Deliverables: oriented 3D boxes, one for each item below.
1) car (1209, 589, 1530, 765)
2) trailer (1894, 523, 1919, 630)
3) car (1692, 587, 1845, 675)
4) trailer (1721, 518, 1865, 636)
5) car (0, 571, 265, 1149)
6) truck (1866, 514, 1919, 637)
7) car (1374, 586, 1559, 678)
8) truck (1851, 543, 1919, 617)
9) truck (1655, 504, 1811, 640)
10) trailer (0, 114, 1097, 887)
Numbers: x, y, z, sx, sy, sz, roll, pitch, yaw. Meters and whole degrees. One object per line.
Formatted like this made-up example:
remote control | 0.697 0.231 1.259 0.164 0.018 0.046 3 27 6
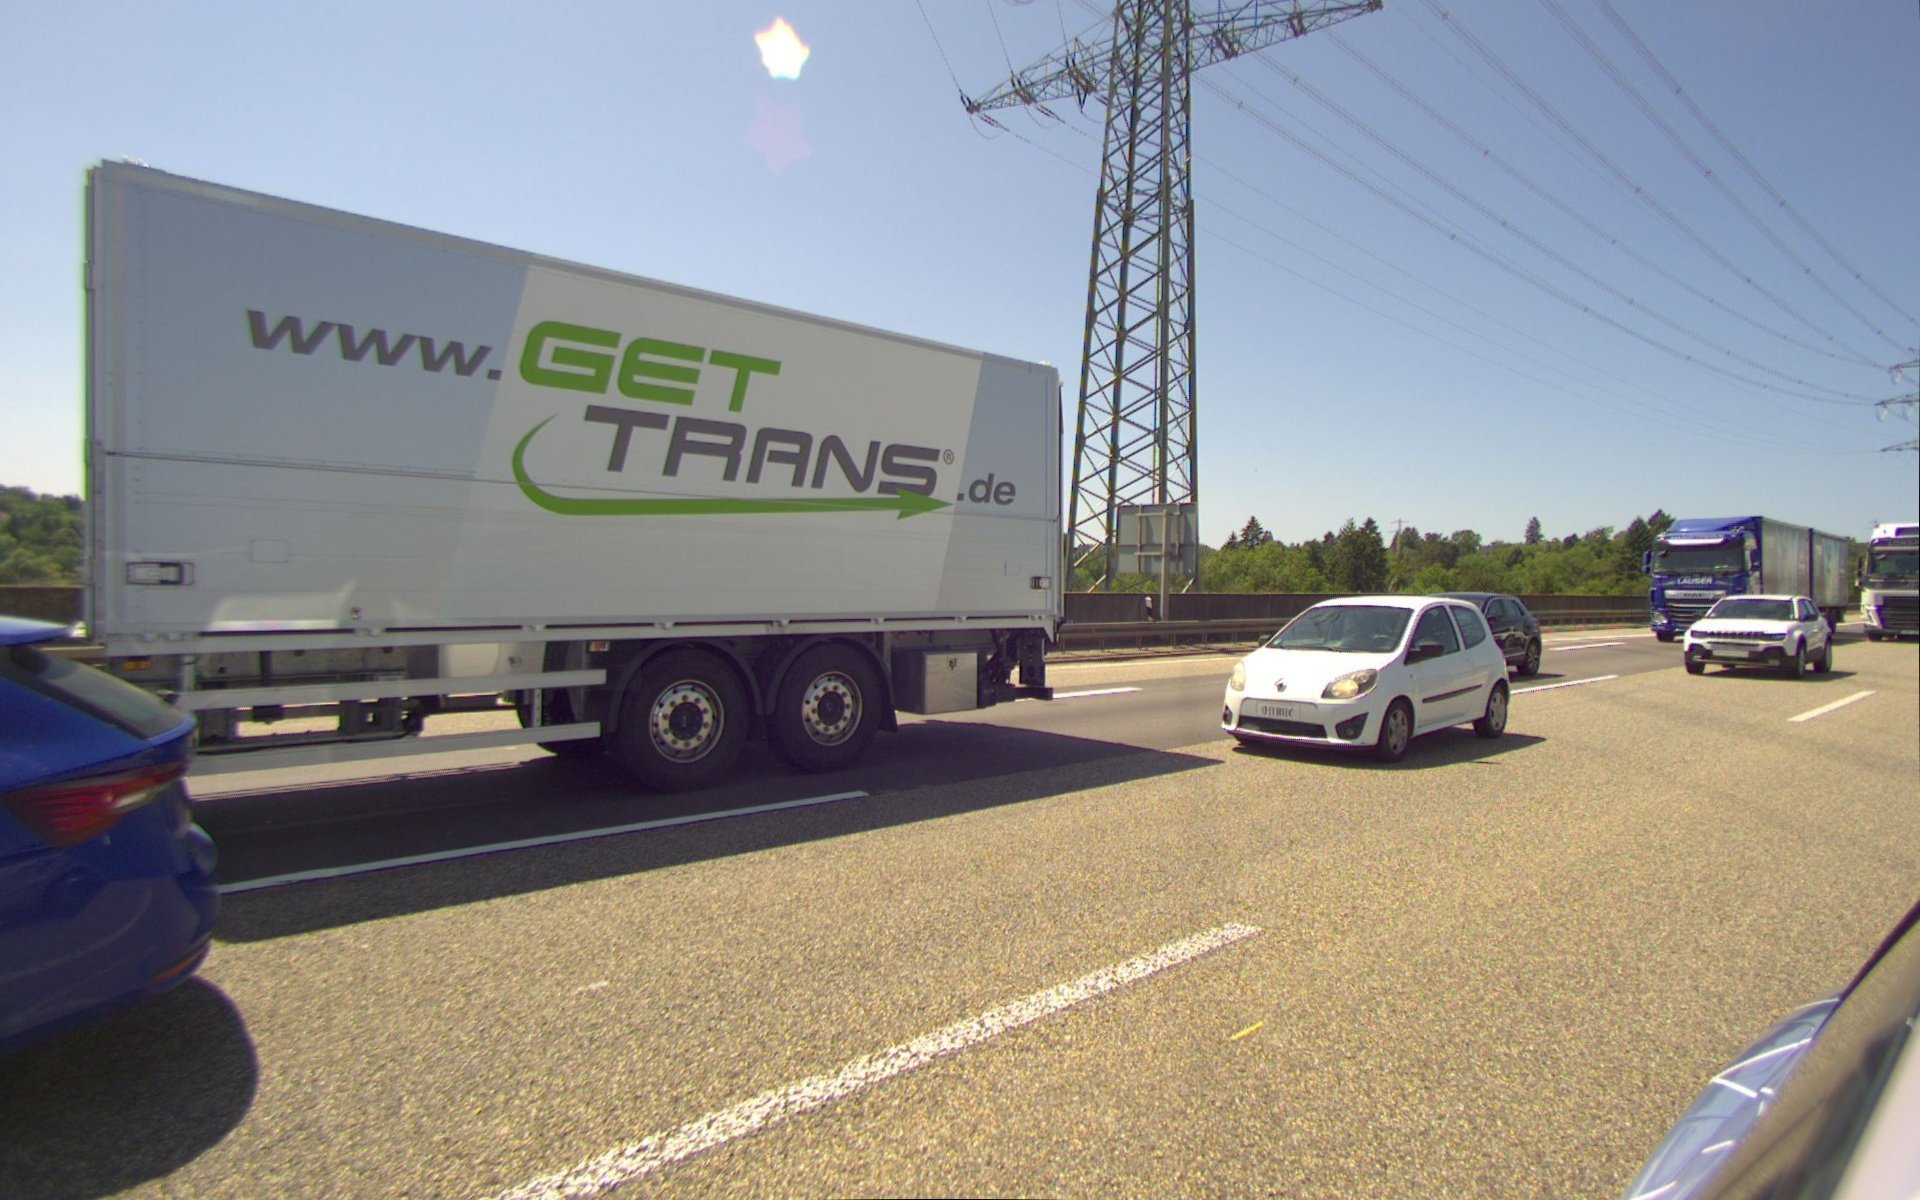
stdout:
car | 4.219 0.623 10.204 3.566 1.458 1.582 0 1 -41
trailer | 39.476 -0.940 39.871 9.605 3.918 2.895 -1 0 -41
car | 15.779 0.532 19.694 3.688 1.554 1.720 0 1 -41
trailer | 32.522 -0.882 39.296 10.695 4.044 2.541 -1 0 -41
car | -4.209 0.658 2.074 4.423 1.458 1.712 0 1 -42
truck | 33.375 -0.838 34.510 6.624 3.941 2.911 -1 0 -41
car | 9.356 0.511 18.580 3.820 1.524 1.708 0 1 -41
truck | 52.964 -1.112 57.319 6.624 3.941 2.911 -1 0 -41
truck | 25.530 -0.844 33.249 7.787 4.018 2.515 0 0 -41
trailer | -2.649 -0.489 8.300 8.147 3.640 2.849 0 0 -41
